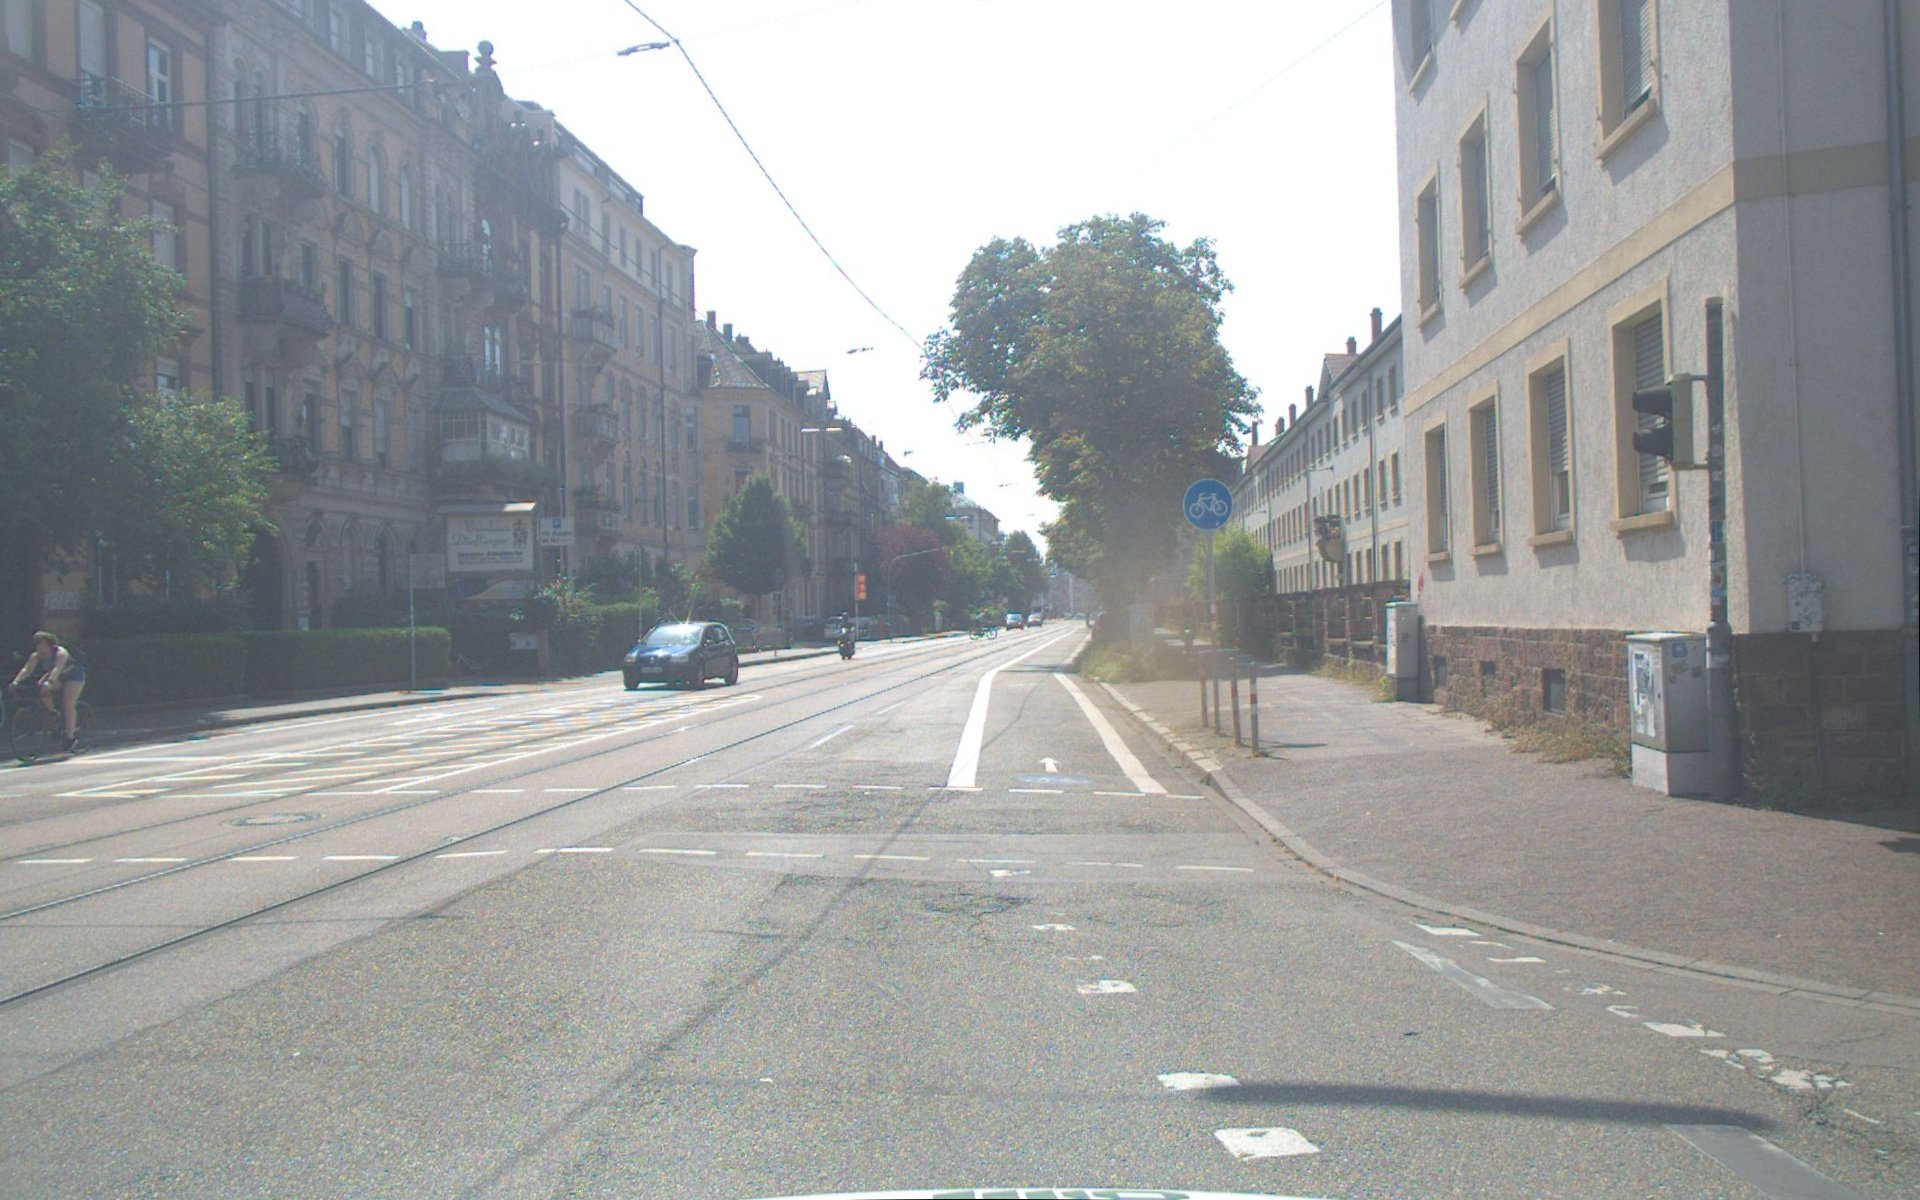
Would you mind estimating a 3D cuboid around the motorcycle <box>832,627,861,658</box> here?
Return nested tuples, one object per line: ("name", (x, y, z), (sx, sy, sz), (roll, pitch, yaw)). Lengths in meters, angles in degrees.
("motorcycle", (-4.158, 1.554, 60.754), (0.677, 1.049, 2.159), (-2, 0, 6))

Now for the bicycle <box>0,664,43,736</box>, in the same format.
("bicycle", (-14.209, 1.479, 24.171), (0.477, 1.003, 1.658), (-2, 0, 8))

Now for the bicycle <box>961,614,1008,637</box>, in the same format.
("bicycle", (1.495, 1.537, 100.704), (2.658, 1.291, 1.147), (-2, -1, -15))

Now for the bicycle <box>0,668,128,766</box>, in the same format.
("bicycle", (-11.385, 1.457, 20.971), (0.568, 1.085, 1.844), (-2, 0, 5))

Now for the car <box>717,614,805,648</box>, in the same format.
("car", (-9.995, 1.546, 83.204), (4.014, 1.622, 1.880), (-1, -1, 7))

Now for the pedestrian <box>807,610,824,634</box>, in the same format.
("pedestrian", (-9.727, 1.469, 111.338), (0.872, 1.537, 0.863), (-2, -1, -26))

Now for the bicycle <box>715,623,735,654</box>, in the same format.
("bicycle", (-9.314, 1.526, 65.517), (0.382, 1.168, 1.583), (-2, 0, 6))

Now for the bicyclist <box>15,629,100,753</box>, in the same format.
("bicyclist", (-11.396, 1.136, 20.902), (0.568, 1.496, 0.776), (-2, 0, 5))

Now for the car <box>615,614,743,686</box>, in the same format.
("car", (-6.379, 1.092, 37.960), (1.690, 1.458, 4.180), (0, 1, 8))

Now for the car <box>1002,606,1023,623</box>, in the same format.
("car", (5.241, 1.465, 164.761), (1.788, 1.567, 4.002), (-3, 0, 4))

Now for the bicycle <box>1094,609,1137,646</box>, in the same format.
("bicycle", (4.996, 0.866, 52.999), (1.374, 1.128, 0.385), (-2, -1, -31))

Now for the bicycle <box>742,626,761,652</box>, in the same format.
("bicycle", (-9.003, 1.681, 71.337), (0.382, 1.056, 1.834), (-2, 0, 6))

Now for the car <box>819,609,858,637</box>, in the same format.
("car", (-7.649, 1.453, 104.518), (1.952, 1.622, 4.360), (-2, -1, 2))

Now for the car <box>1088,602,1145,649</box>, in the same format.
("car", (5.626, 0.890, 59.178), (1.582, 1.557, 3.502), (-3, -1, 11))

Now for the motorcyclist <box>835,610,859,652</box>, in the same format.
("motorcyclist", (-4.157, 1.136, 60.853), (0.675, 1.538, 0.773), (-2, -1, 6))

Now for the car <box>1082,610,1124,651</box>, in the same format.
("car", (5.856, 1.224, 67.436), (1.583, 1.503, 4.041), (-3, -1, 5))

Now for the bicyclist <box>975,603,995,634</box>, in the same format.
("bicyclist", (1.524, 1.125, 100.714), (0.935, 1.869, 1.126), (-2, -1, -10))

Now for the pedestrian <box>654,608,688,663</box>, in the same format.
("pedestrian", (-9.516, 1.162, 54.475), (0.864, 1.786, 0.870), (-2, -1, 5))

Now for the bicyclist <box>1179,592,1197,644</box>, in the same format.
("bicyclist", (6.789, 0.540, 49.178), (0.428, 1.538, 0.472), (-2, -1, 2))

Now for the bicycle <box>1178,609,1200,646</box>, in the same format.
("bicycle", (6.799, 0.819, 49.158), (0.431, 1.065, 1.829), (-2, -1, 2))
